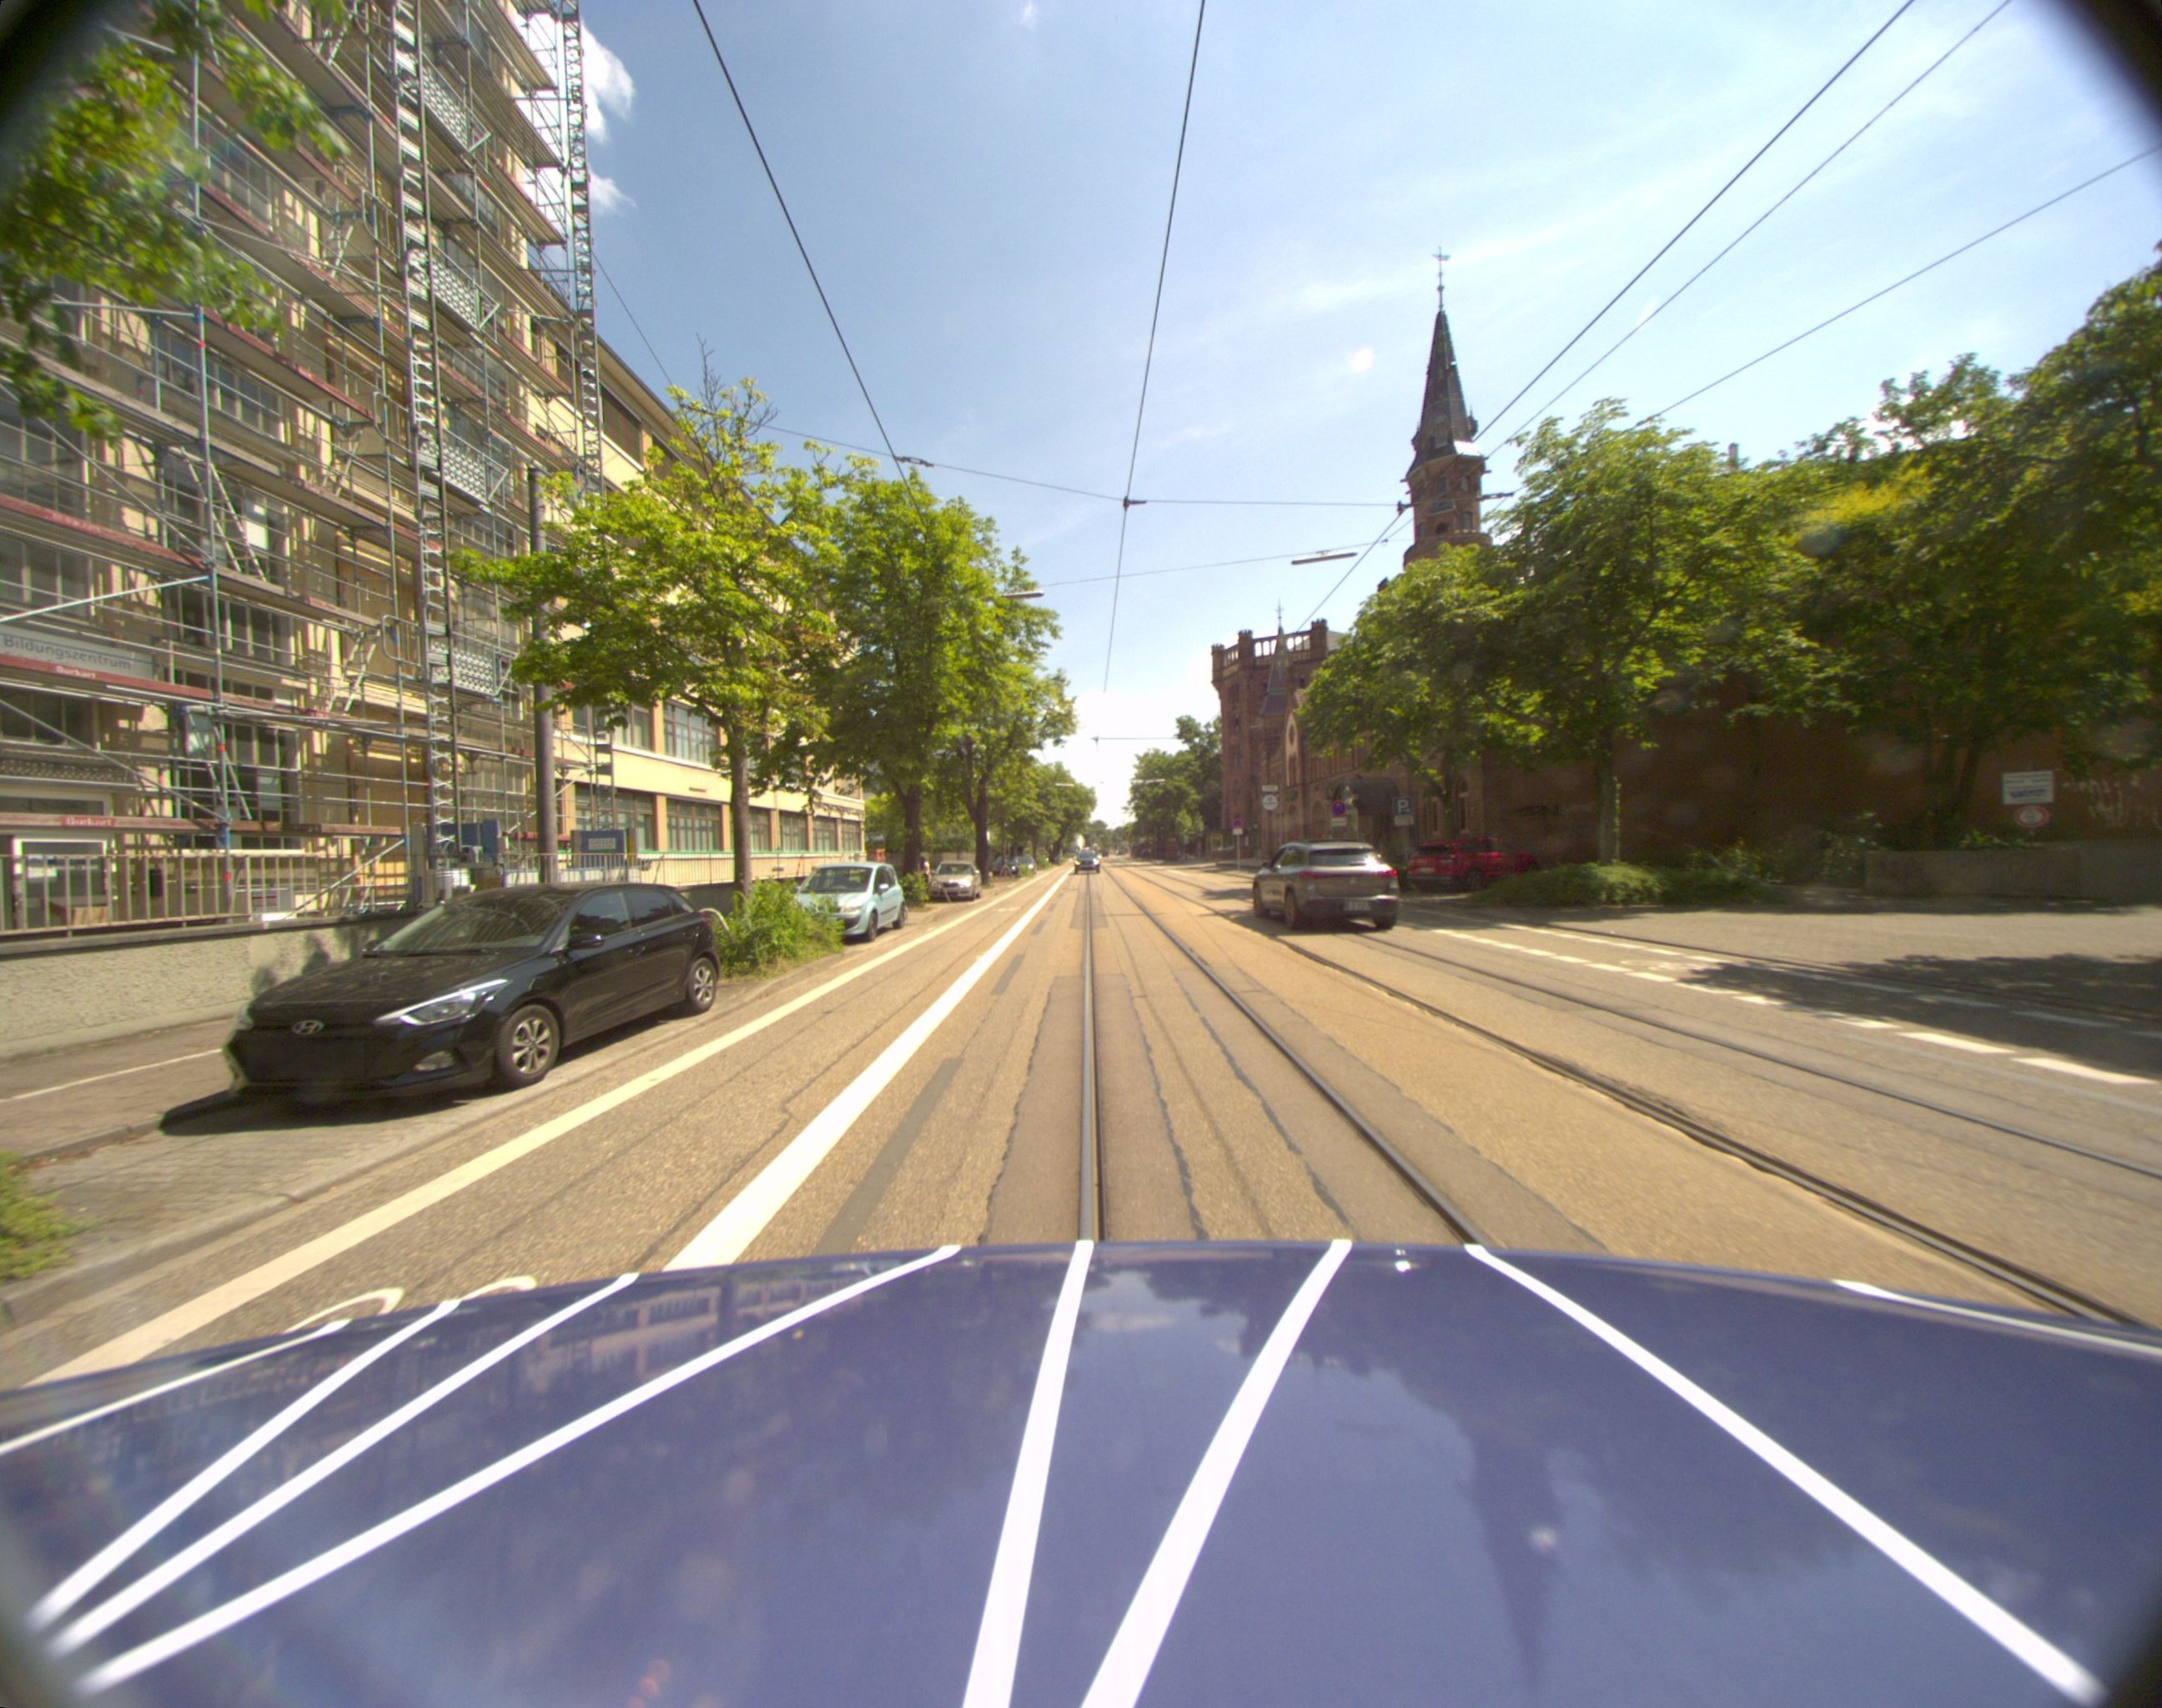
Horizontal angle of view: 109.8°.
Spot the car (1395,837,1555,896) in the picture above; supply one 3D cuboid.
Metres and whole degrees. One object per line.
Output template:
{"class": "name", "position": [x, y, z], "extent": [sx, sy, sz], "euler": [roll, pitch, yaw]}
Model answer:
{"class": "car", "position": [12.286, 0.348, 23.651], "extent": [4.786, 1.557, 1.997], "euler": [-3, 1, -28]}

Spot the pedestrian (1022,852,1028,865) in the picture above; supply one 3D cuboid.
{"class": "pedestrian", "position": [-6.859, 0.521, 92.745], "extent": [0.620, 1.564, 0.610], "euler": [0, 1, 1]}

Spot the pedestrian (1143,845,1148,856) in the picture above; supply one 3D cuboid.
{"class": "pedestrian", "position": [10.846, -0.593, 127.918], "extent": [0.679, 1.780, 0.919], "euler": [-5, 1, 0]}

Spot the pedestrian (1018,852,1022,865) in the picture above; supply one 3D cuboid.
{"class": "pedestrian", "position": [-7.445, 0.521, 92.785], "extent": [0.514, 1.564, 0.544], "euler": [0, 1, 1]}

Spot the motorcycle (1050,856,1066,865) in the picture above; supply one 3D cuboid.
{"class": "motorcycle", "position": [-3.040, 0.845, 100.194], "extent": [2.056, 1.206, 0.614], "euler": [-1, 2, 40]}

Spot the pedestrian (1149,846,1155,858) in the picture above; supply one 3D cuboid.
{"class": "pedestrian", "position": [10.566, -0.277, 113.453], "extent": [0.723, 1.781, 0.919], "euler": [-5, 1, 0]}

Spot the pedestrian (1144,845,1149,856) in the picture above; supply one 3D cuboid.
{"class": "pedestrian", "position": [10.806, -0.546, 125.954], "extent": [0.679, 1.738, 0.919], "euler": [-5, 1, 0]}

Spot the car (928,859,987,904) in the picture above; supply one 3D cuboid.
{"class": "car", "position": [-4.642, 0.984, 29.139], "extent": [1.676, 1.490, 4.364], "euler": [-2, 0, -2]}

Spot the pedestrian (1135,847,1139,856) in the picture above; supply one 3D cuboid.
{"class": "pedestrian", "position": [12.273, -0.533, 166.033], "extent": [0.750, 1.738, 0.919], "euler": [-4, 1, 0]}

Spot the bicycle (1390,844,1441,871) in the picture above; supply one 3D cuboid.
{"class": "bicycle", "position": [14.141, 0.146, 32.151], "extent": [2.002, 0.886, 0.597], "euler": [-7, 2, -16]}

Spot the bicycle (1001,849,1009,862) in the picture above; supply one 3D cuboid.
{"class": "bicycle", "position": [-7.263, 0.144, 72.697], "extent": [0.556, 1.258, 1.774], "euler": [1, 1, 1]}

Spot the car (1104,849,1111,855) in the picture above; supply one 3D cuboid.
{"class": "car", "position": [7.543, -0.586, 214.640], "extent": [1.909, 1.778, 4.255], "euler": [-2, 0, 0]}

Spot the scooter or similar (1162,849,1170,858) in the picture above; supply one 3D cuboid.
{"class": "scooter or similar", "position": [11.122, -0.055, 99.190], "extent": [0.348, 1.120, 1.227], "euler": [-2, 2, 44]}

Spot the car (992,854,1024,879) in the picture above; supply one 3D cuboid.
{"class": "car", "position": [-4.620, 0.785, 48.497], "extent": [1.675, 1.481, 3.980], "euler": [-2, 0, 0]}

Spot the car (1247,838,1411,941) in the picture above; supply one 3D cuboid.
{"class": "car", "position": [4.586, 0.582, 14.735], "extent": [1.835, 1.671, 4.184], "euler": [-1, 0, 1]}

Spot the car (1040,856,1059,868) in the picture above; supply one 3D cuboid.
{"class": "car", "position": [-3.487, 0.869, 84.795], "extent": [1.756, 1.263, 3.833], "euler": [-3, 0, 1]}

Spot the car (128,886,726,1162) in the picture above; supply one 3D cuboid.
{"class": "car", "position": [-4.888, 1.118, 6.613], "extent": [1.675, 1.429, 4.041], "euler": [-2, 0, 0]}

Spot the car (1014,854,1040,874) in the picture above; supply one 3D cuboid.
{"class": "car", "position": [-4.199, 0.742, 59.632], "extent": [1.675, 1.400, 4.748], "euler": [-2, 0, 0]}

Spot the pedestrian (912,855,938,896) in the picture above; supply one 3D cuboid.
{"class": "pedestrian", "position": [-6.101, 0.816, 29.735], "extent": [0.801, 1.579, 0.919], "euler": [0, 1, 0]}

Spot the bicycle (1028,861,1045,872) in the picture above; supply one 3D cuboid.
{"class": "bicycle", "position": [-4.254, 1.199, 72.236], "extent": [1.589, 1.054, 0.562], "euler": [-2, 1, -1]}

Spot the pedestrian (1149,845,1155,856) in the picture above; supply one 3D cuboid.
{"class": "pedestrian", "position": [11.703, -0.600, 125.758], "extent": [0.754, 1.766, 0.919], "euler": [-5, 1, 0]}

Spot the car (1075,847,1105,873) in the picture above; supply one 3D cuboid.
{"class": "car", "position": [0.645, 0.401, 54.966], "extent": [1.998, 1.732, 4.226], "euler": [-3, 0, 0]}

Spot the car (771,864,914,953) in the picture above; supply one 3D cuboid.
{"class": "car", "position": [-4.887, 1.041, 16.197], "extent": [1.675, 1.509, 4.201], "euler": [-2, 0, 0]}

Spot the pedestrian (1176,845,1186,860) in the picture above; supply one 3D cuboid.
{"class": "pedestrian", "position": [11.114, -0.156, 84.593], "extent": [0.801, 1.579, 0.919], "euler": [-5, 1, 0]}
